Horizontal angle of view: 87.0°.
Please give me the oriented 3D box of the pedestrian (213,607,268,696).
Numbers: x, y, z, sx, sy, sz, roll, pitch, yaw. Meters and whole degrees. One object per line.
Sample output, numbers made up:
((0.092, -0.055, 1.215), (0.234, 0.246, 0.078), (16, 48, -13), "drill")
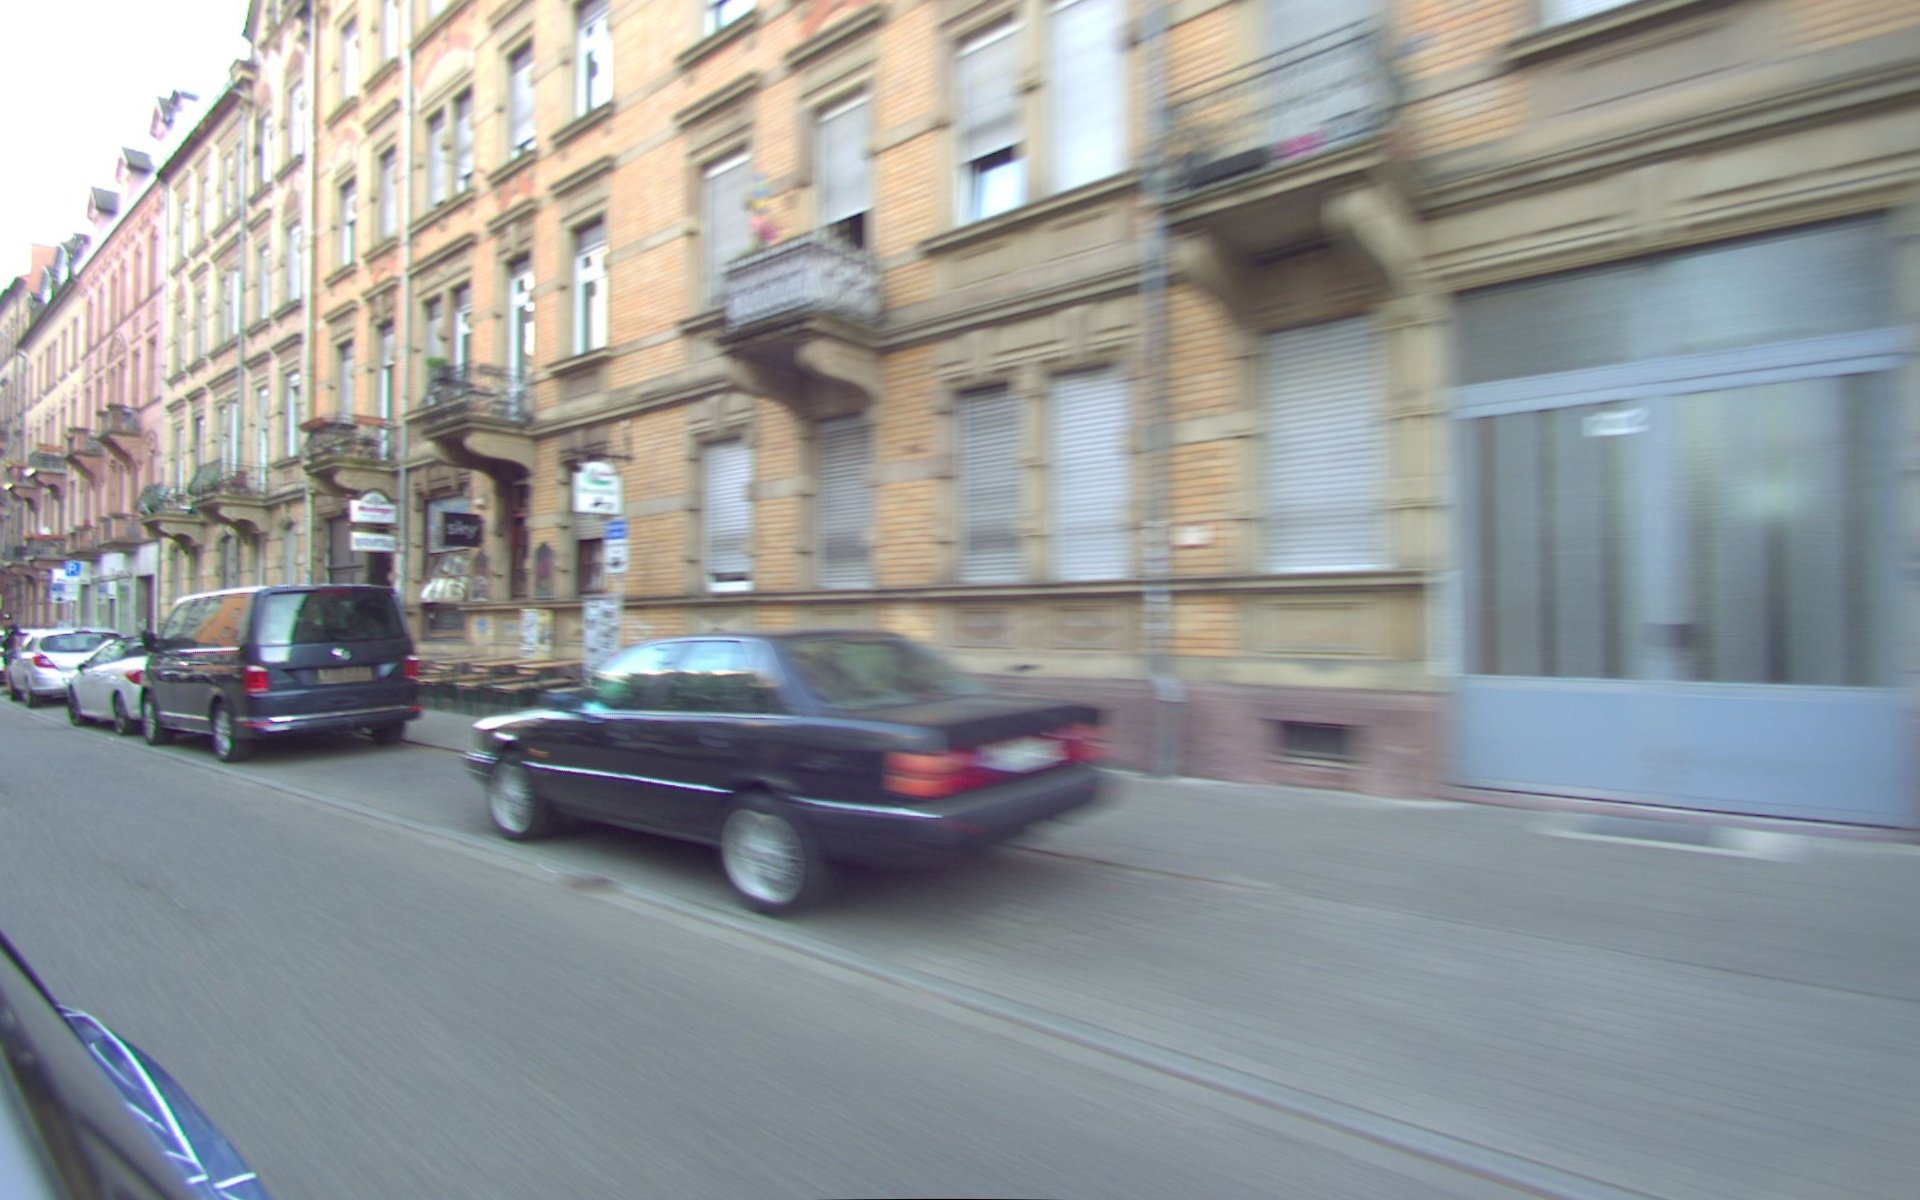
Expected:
((-14.913, 1.064, 20.964), (0.996, 1.785, 0.575), (-3, 0, 36), "pedestrian")

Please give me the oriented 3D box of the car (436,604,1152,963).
((-1.346, 0.788, 6.331), (4.774, 1.429, 1.719), (-1, 0, 40), "car")

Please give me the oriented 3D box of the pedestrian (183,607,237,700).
((-15.006, 1.068, 20.241), (0.776, 1.785, 0.600), (-3, 0, 36), "pedestrian")

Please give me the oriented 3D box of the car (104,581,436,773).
((-8.705, 0.835, 12.589), (4.944, 1.938, 1.974), (-2, 0, 38), "car")

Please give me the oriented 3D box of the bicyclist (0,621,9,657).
((-46.687, 1.879, 49.122), (0.699, 1.742, 0.845), (0, -1, -38), "bicyclist")

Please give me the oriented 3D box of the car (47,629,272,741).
((-12.575, 1.223, 15.797), (4.480, 1.433, 1.766), (-2, 0, 39), "car")

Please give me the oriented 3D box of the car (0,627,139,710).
((-18.183, 1.337, 20.557), (3.998, 1.468, 1.699), (-2, -1, 42), "car")

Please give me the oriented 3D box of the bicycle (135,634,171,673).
((-24.309, 1.603, 30.478), (1.729, 1.140, 0.510), (-2, -2, 40), "bicycle")

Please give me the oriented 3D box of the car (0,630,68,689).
((-25.163, 1.565, 26.761), (4.505, 1.422, 1.740), (-3, -1, 40), "car")

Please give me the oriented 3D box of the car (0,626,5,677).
((-33.104, 1.739, 33.411), (4.442, 1.646, 1.834), (-3, -1, 40), "car")

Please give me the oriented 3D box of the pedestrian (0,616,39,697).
((-21.226, 1.247, 22.527), (1.005, 1.769, 0.557), (0, -1, -36), "pedestrian")
